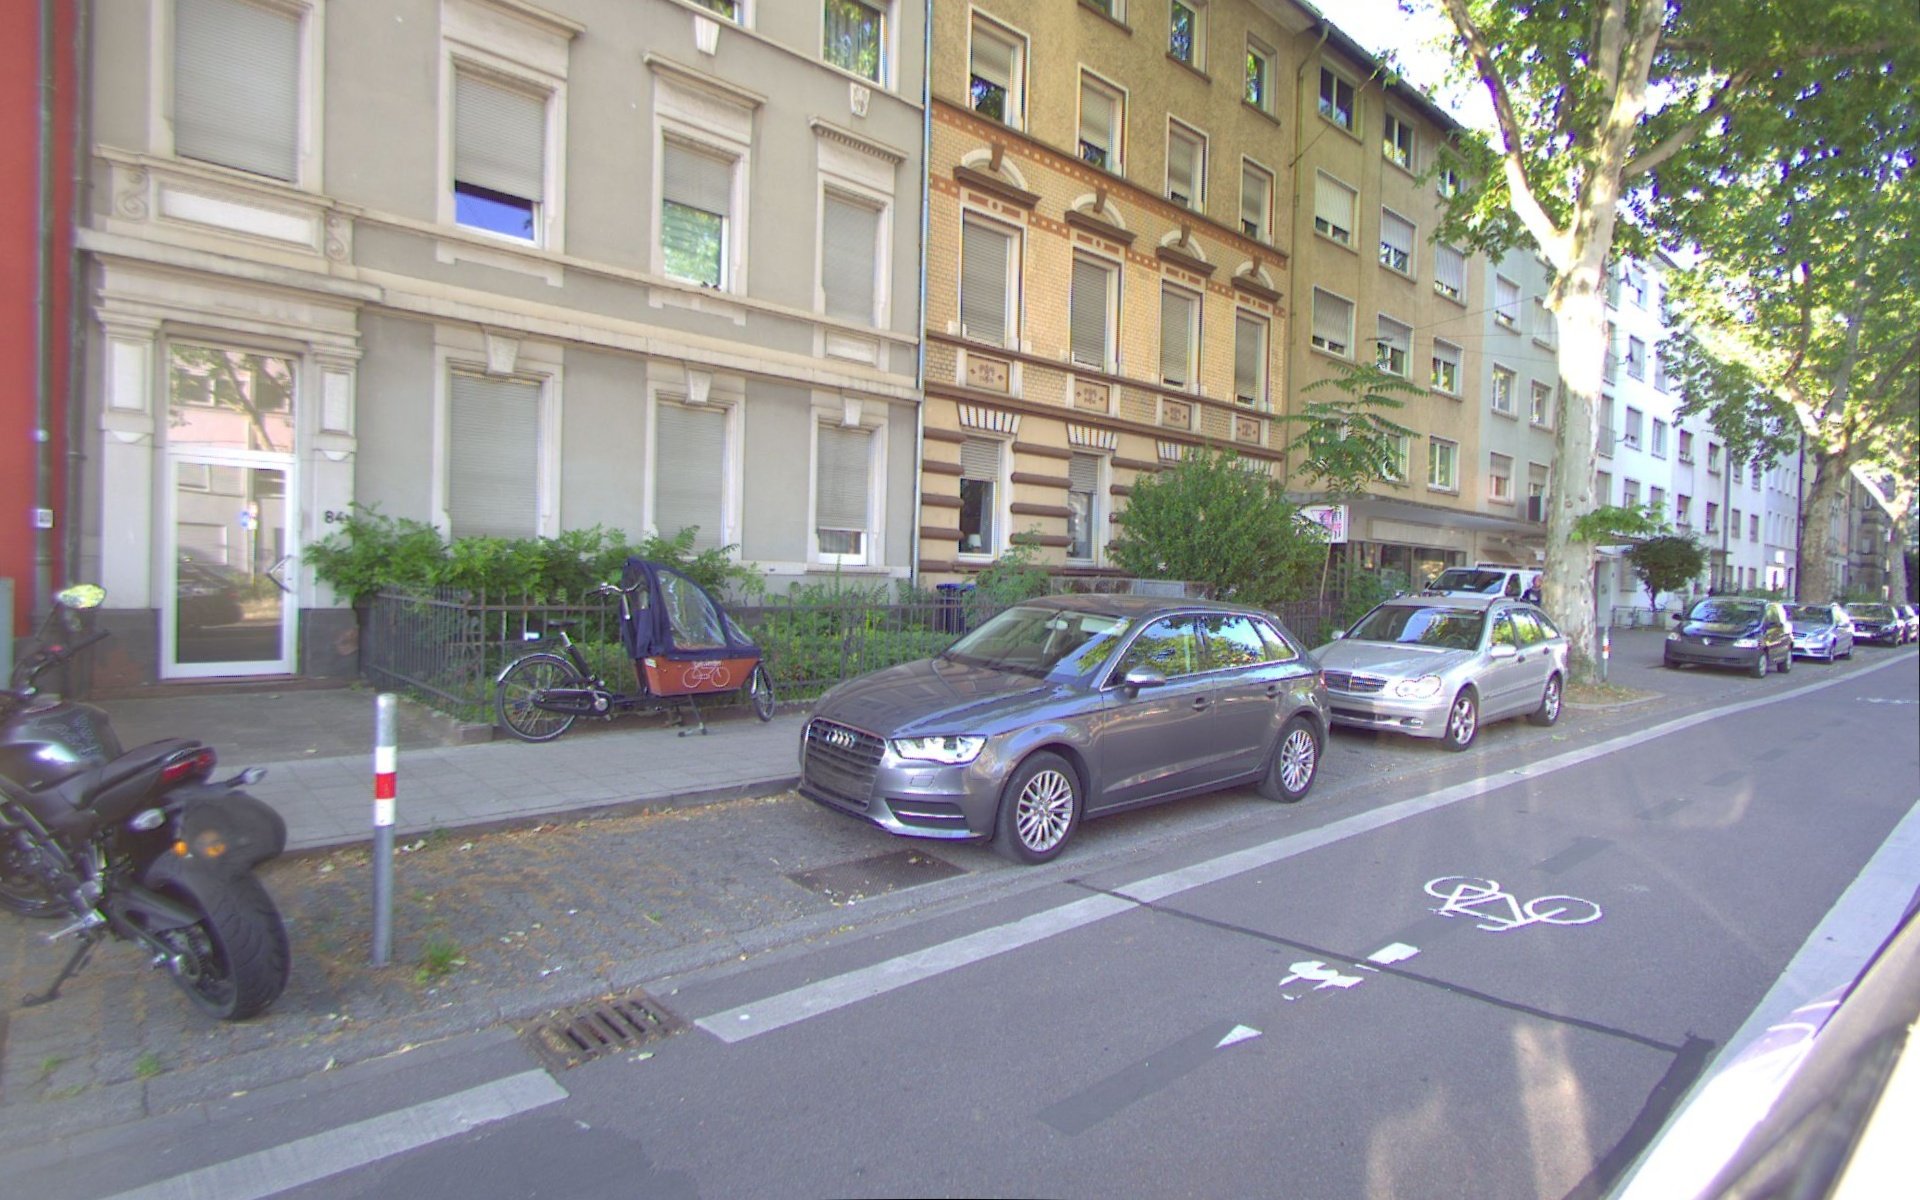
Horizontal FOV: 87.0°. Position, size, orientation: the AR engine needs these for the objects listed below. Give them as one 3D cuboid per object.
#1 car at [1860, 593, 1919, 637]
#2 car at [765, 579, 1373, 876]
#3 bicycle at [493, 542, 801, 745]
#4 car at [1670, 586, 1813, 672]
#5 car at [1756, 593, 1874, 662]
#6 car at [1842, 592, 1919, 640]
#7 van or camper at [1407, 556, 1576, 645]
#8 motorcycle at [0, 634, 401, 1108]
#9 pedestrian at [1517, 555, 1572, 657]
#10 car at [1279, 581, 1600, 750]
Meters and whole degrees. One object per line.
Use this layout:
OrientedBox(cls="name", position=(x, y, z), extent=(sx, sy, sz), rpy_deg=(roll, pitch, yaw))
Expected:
OrientedBox(cls="car", position=(35.187, 0.520, 37.878), extent=(4.289, 1.432, 1.712), rpy_deg=(0, 4, -42))
OrientedBox(cls="car", position=(0.968, 0.609, 6.980), extent=(4.245, 1.414, 1.714), rpy_deg=(0, 2, -41))
OrientedBox(cls="bicycle", position=(-2.468, 0.301, 8.234), extent=(2.354, 1.445, 0.608), rpy_deg=(0, 0, -41))
OrientedBox(cls="car", position=(16.239, 0.528, 20.963), extent=(3.932, 1.564, 1.656), rpy_deg=(0, 2, -42))
OrientedBox(cls="car", position=(21.992, 0.630, 25.958), extent=(4.695, 1.561, 1.697), rpy_deg=(0, 2, -42))
OrientedBox(cls="car", position=(31.661, 0.509, 34.609), extent=(4.289, 1.432, 1.712), rpy_deg=(0, 4, -42))
OrientedBox(cls="van or camper", position=(13.172, -0.020, 24.916), extent=(5.299, 1.946, 1.945), rpy_deg=(0, 2, -42))
OrientedBox(cls="motorcycle", position=(-3.030, 0.761, 3.573), extent=(2.193, 1.076, 0.760), rpy_deg=(4, 2, 28))
OrientedBox(cls="pedestrian", position=(11.973, 0.105, 20.730), extent=(0.995, 2.038, 0.683), rpy_deg=(0, 1, -44))
OrientedBox(cls="car", position=(5.455, 0.567, 11.207), extent=(4.494, 1.469, 1.676), rpy_deg=(0, 2, -43))
